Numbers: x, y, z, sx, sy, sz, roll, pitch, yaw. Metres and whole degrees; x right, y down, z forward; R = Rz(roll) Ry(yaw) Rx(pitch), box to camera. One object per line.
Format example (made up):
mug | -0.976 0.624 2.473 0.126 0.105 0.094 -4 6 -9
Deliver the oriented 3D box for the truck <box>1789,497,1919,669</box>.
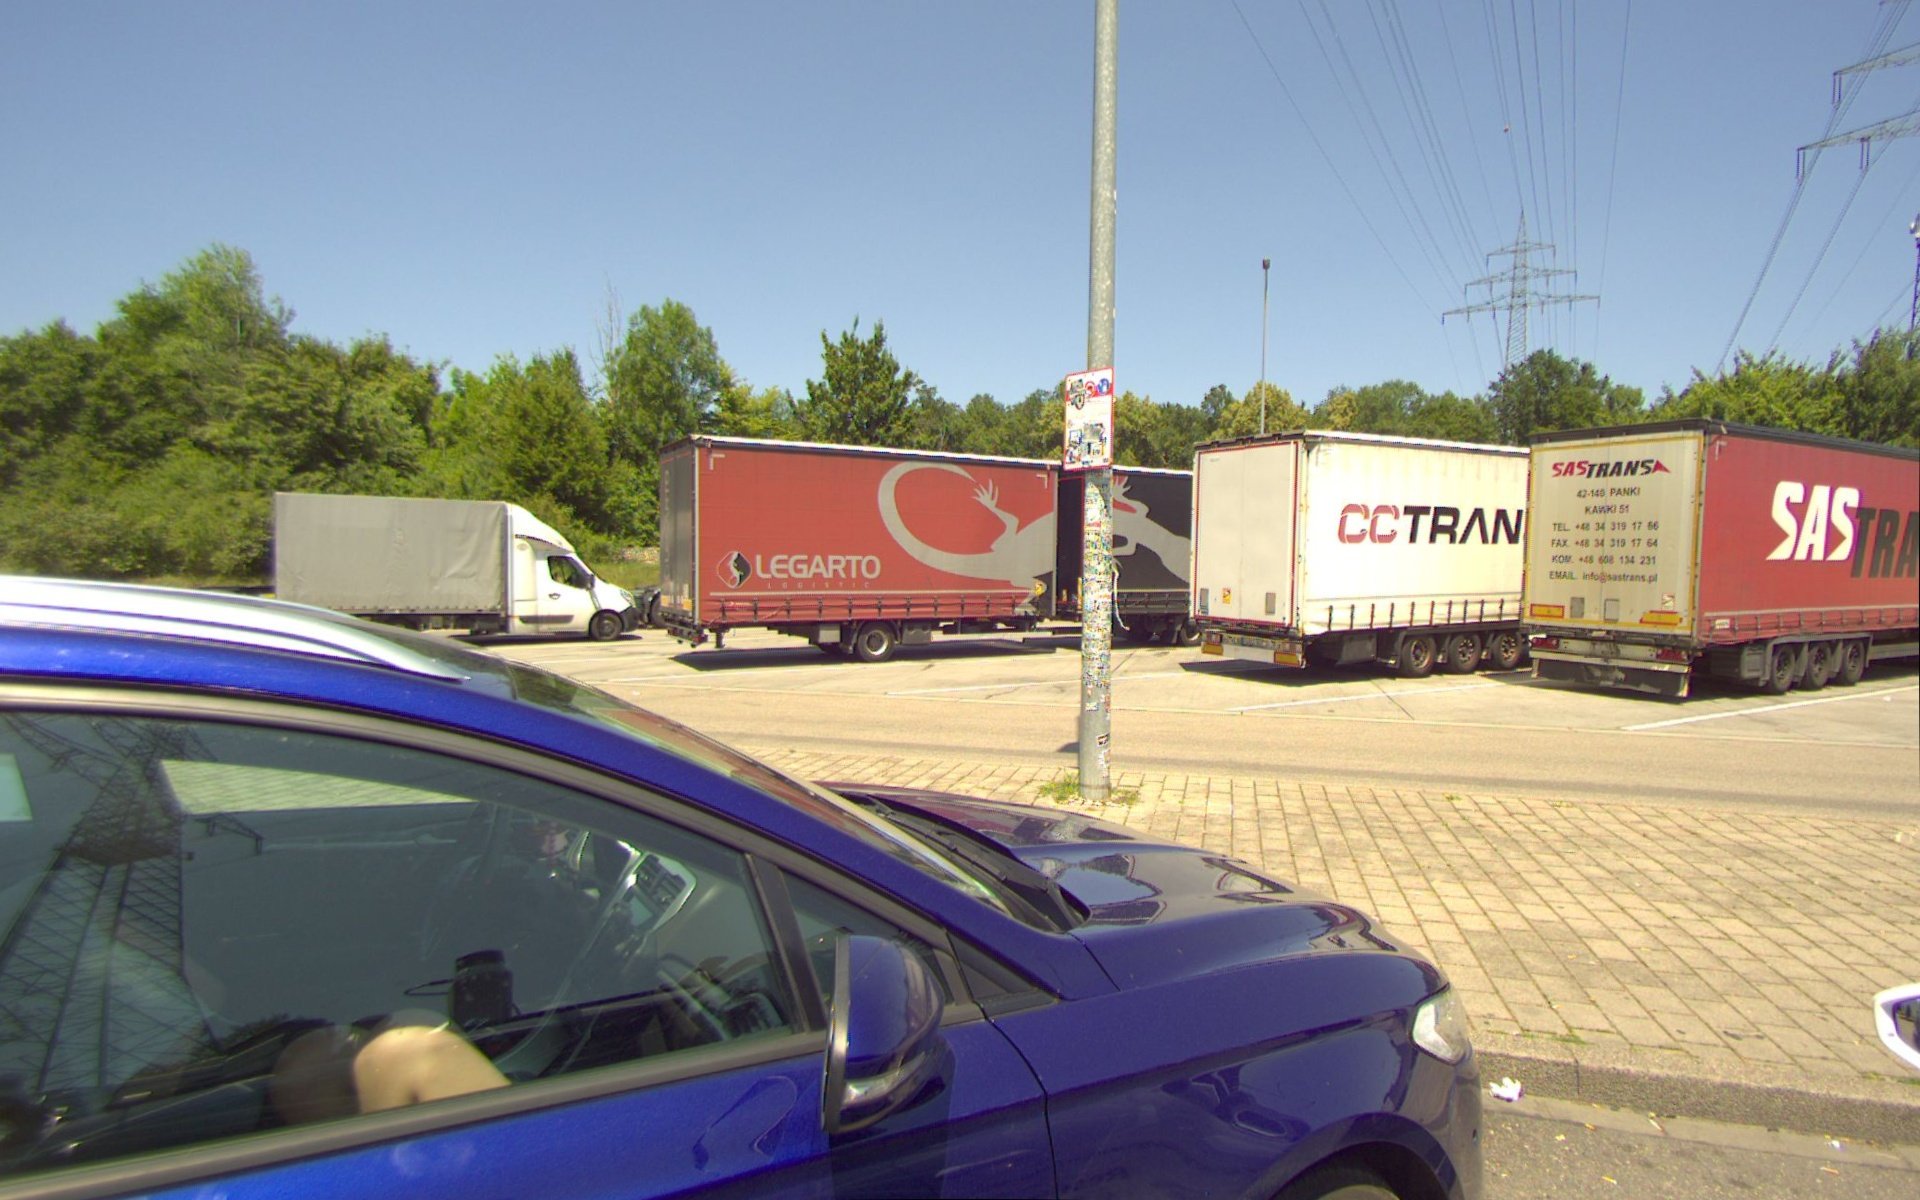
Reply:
truck | 21.272 -0.403 22.052 5.903 3.409 2.798 -1 3 -30

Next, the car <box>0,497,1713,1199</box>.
car | -0.957 0.654 1.455 4.522 1.491 1.743 0 2 -32

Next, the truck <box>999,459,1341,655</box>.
truck | 5.285 -0.994 24.543 8.586 4.127 2.693 -1 3 -30

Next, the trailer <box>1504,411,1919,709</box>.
trailer | 15.480 -0.675 18.615 13.599 4.127 2.807 -1 3 -31

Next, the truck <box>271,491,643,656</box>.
truck | -11.225 -0.614 22.998 7.187 3.289 2.694 -1 3 -29

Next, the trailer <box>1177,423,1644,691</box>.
trailer | 8.987 -0.767 19.349 10.264 4.158 2.693 -1 3 -30

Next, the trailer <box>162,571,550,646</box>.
trailer | -14.736 0.114 25.237 8.007 1.648 2.199 -1 3 -30

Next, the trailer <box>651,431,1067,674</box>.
trailer | -1.867 -0.898 20.335 8.007 4.127 2.693 -1 3 -30

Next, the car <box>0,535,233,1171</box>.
car | -4.399 0.582 2.092 4.522 1.526 1.743 0 2 -32
